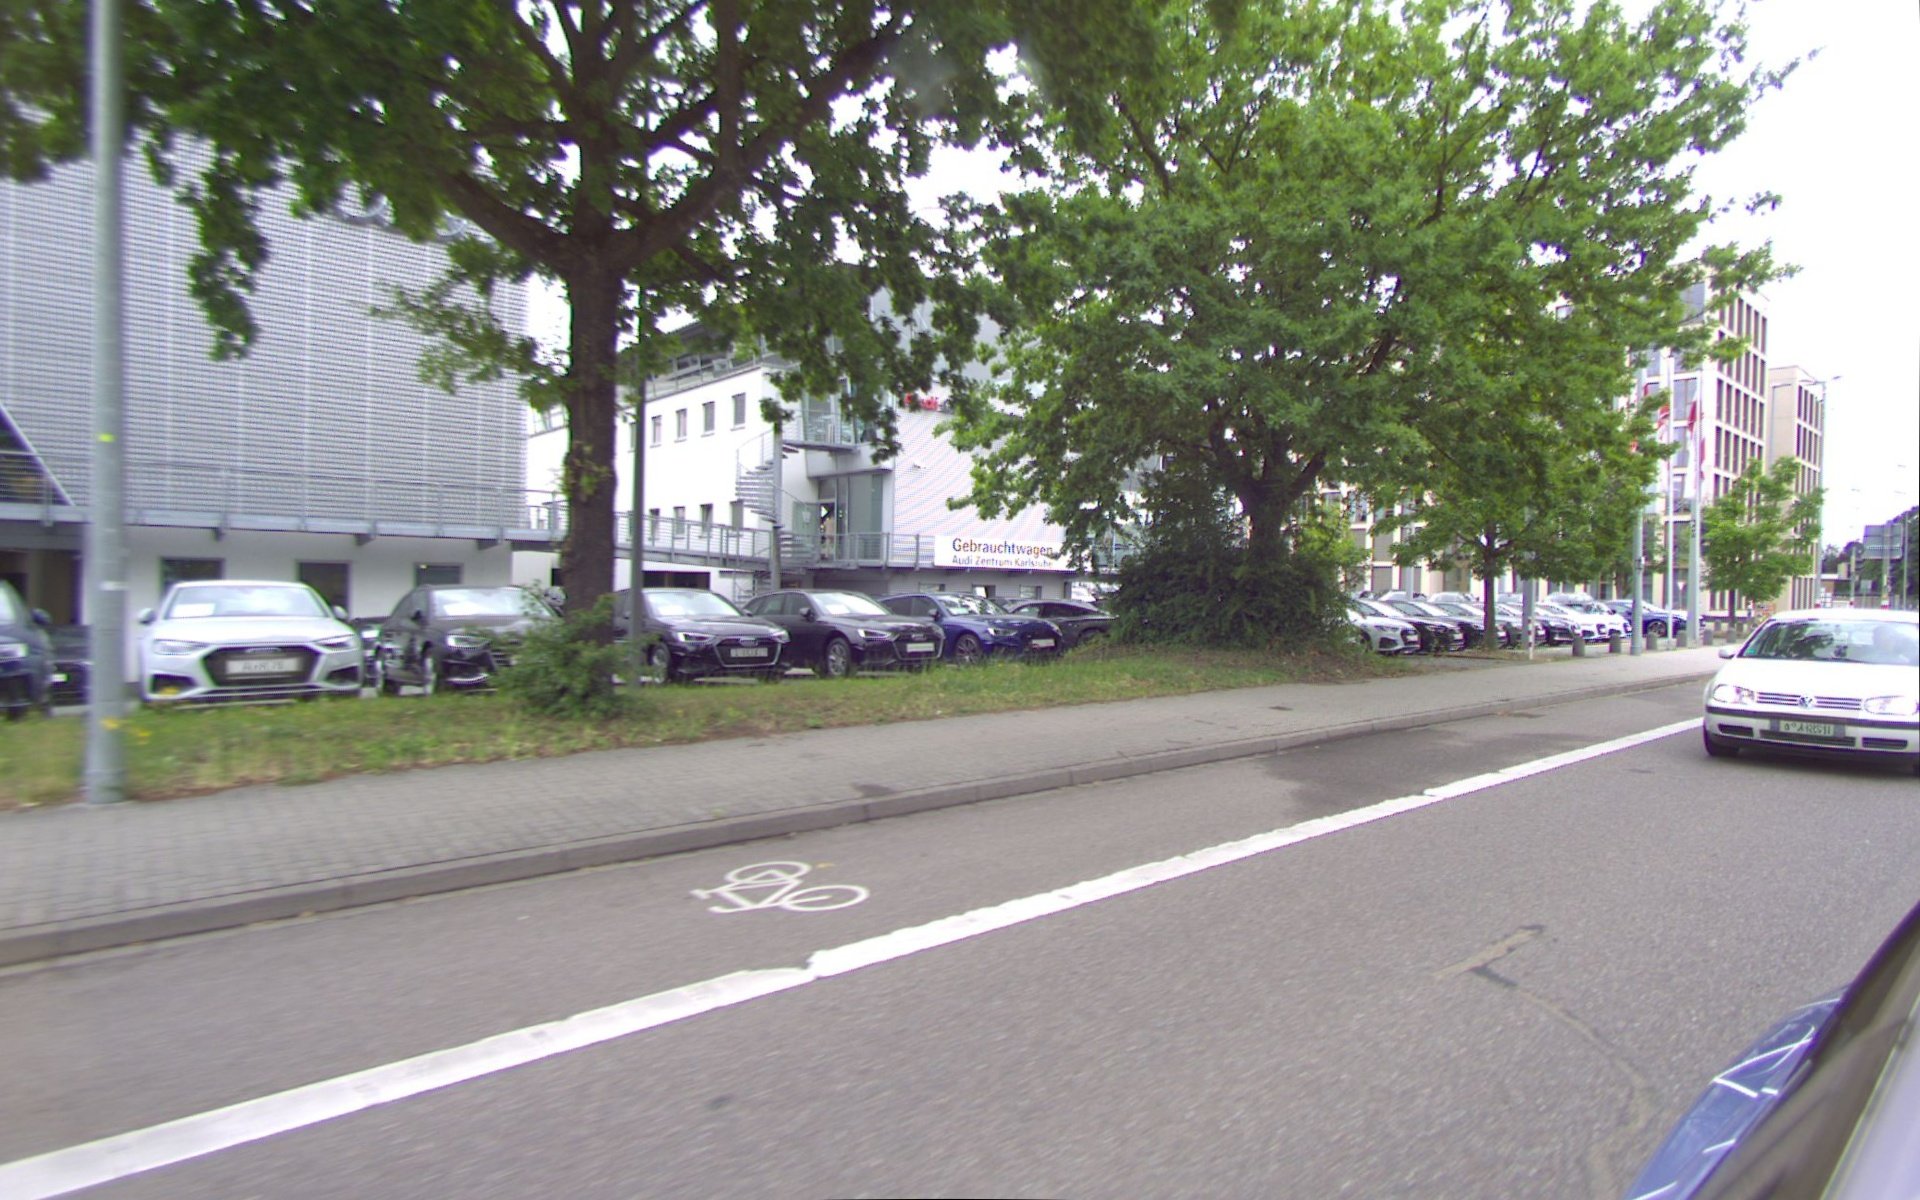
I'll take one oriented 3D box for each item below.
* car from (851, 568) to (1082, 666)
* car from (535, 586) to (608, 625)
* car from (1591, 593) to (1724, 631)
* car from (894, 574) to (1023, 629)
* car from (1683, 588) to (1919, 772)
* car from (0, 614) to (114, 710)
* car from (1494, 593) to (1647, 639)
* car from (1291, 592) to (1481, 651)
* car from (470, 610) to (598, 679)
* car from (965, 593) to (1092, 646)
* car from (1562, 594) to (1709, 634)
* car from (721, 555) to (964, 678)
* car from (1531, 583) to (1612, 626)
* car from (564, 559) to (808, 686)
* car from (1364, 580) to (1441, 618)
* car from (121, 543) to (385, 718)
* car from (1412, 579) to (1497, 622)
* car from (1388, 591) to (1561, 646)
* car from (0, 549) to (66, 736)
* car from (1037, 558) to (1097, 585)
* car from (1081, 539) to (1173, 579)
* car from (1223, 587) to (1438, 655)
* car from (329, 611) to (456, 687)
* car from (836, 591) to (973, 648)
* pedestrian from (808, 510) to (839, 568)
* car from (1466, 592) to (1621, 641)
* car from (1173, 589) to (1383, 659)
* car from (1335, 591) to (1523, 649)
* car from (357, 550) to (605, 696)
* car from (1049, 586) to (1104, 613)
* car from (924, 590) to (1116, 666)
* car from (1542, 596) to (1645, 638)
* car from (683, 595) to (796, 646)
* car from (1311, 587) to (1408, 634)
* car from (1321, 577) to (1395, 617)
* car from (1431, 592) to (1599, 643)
[{"bbox_3d":[-0.004,0.401,17.929,1.837,1.412,4.128,3,-6,-40],"label":"car"},{"bbox_3d":[-17.597,0.213,45.784,1.838,1.655,4.131,0,1,-40],"label":"car"},{"bbox_3d":[29.105,0.490,42.321,1.841,1.505,4.224,0,0,-39],"label":"car"},{"bbox_3d":[-0.119,0.043,31.570,1.784,1.564,4.110,3,-1,-40],"label":"car"},{"bbox_3d":[8.899,0.684,10.056,3.932,1.496,1.836,2,0,-39],"label":"car"},{"bbox_3d":[-15.982,1.027,17.809,1.620,1.420,3.763,3,-1,-40],"label":"car"},{"bbox_3d":[21.183,0.558,35.274,1.819,1.505,4.193,1,-2,-39],"label":"car"},{"bbox_3d":[11.015,0.570,26.401,1.869,1.409,4.161,1,-2,-40],"label":"car"},{"bbox_3d":[-9.810,0.974,23.193,1.620,1.381,3.763,3,-1,-40],"label":"car"},{"bbox_3d":[2.170,0.614,33.051,1.784,1.564,4.110,3,-1,-40],"label":"car"},{"bbox_3d":[26.946,0.570,40.476,2.034,1.505,4.508,-1,0,-41],"label":"car"},{"bbox_3d":[-2.021,0.384,16.293,1.842,1.624,4.242,3,-6,-40],"label":"car"},{"bbox_3d":[29.108,0.183,48.114,4.705,1.886,1.997,-2,2,-41],"label":"car"},{"bbox_3d":[-4.084,0.445,14.645,1.793,1.506,4.212,3,-6,-40],"label":"car"},{"bbox_3d":[23.830,-0.082,54.411,4.880,1.899,2.050,-2,2,-43],"label":"car"},{"bbox_3d":[-7.770,0.409,10.949,1.924,1.506,4.201,3,-5,-40],"label":"car"},{"bbox_3d":[25.717,-0.026,52.539,4.952,2.038,2.262,-2,2,-41],"label":"car"},{"bbox_3d":[15.177,0.569,30.034,1.875,1.505,4.184,1,-2,-40],"label":"car"},{"bbox_3d":[-9.632,0.432,9.256,1.941,1.506,4.189,3,-5,-39],"label":"car"},{"bbox_3d":[7.645,-2.021,72.604,1.964,1.846,3.995,3,-1,-40],"label":"car"},{"bbox_3d":[7.782,-1.867,47.291,1.793,1.683,3.994,3,-1,-41],"label":"car"},{"bbox_3d":[8.908,0.512,24.683,1.815,1.491,4.657,1,-2,-40],"label":"car"},{"bbox_3d":[-12.025,0.984,21.337,1.620,1.381,3.763,3,-1,-40],"label":"car"},{"bbox_3d":[-1.705,0.543,29.724,1.709,1.505,4.347,3,-1,-40],"label":"car"},{"bbox_3d":[-5.040,-2.243,37.410,0.733,2.039,0.799,3,-2,-41],"label":"pedestrian"},{"bbox_3d":[19.243,0.568,33.492,1.843,1.505,4.039,1,-2,-39],"label":"car"},{"bbox_3d":[7.054,0.523,22.814,1.823,1.439,4.211,1,-1,-40],"label":"car"},{"bbox_3d":[12.970,0.563,28.190,1.861,1.489,4.372,1,-2,-40],"label":"car"},{"bbox_3d":[-6.080,0.391,12.611,1.786,1.506,4.069,3,-5,-40],"label":"car"},{"bbox_3d":[7.524,-0.065,65.878,1.882,1.679,4.455,0,0,-17],"label":"car"},{"bbox_3d":[1.320,0.626,23.222,4.196,1.518,1.768,2,-1,1],"label":"car"},{"bbox_3d":[23.863,0.623,38.050,4.670,1.505,1.890,0,-2,-40],"label":"car"},{"bbox_3d":[-7.355,0.619,33.484,1.839,1.536,4.127,0,1,-43],"label":"car"},{"bbox_3d":[17.994,0.429,45.485,4.731,1.964,1.998,0,1,-39],"label":"car"},{"bbox_3d":[22.161,-0.205,56.274,4.708,2.038,1.996,-2,2,-43],"label":"car"},{"bbox_3d":[17.291,0.562,31.704,1.838,1.505,4.227,1,-2,-39],"label":"car"}]
